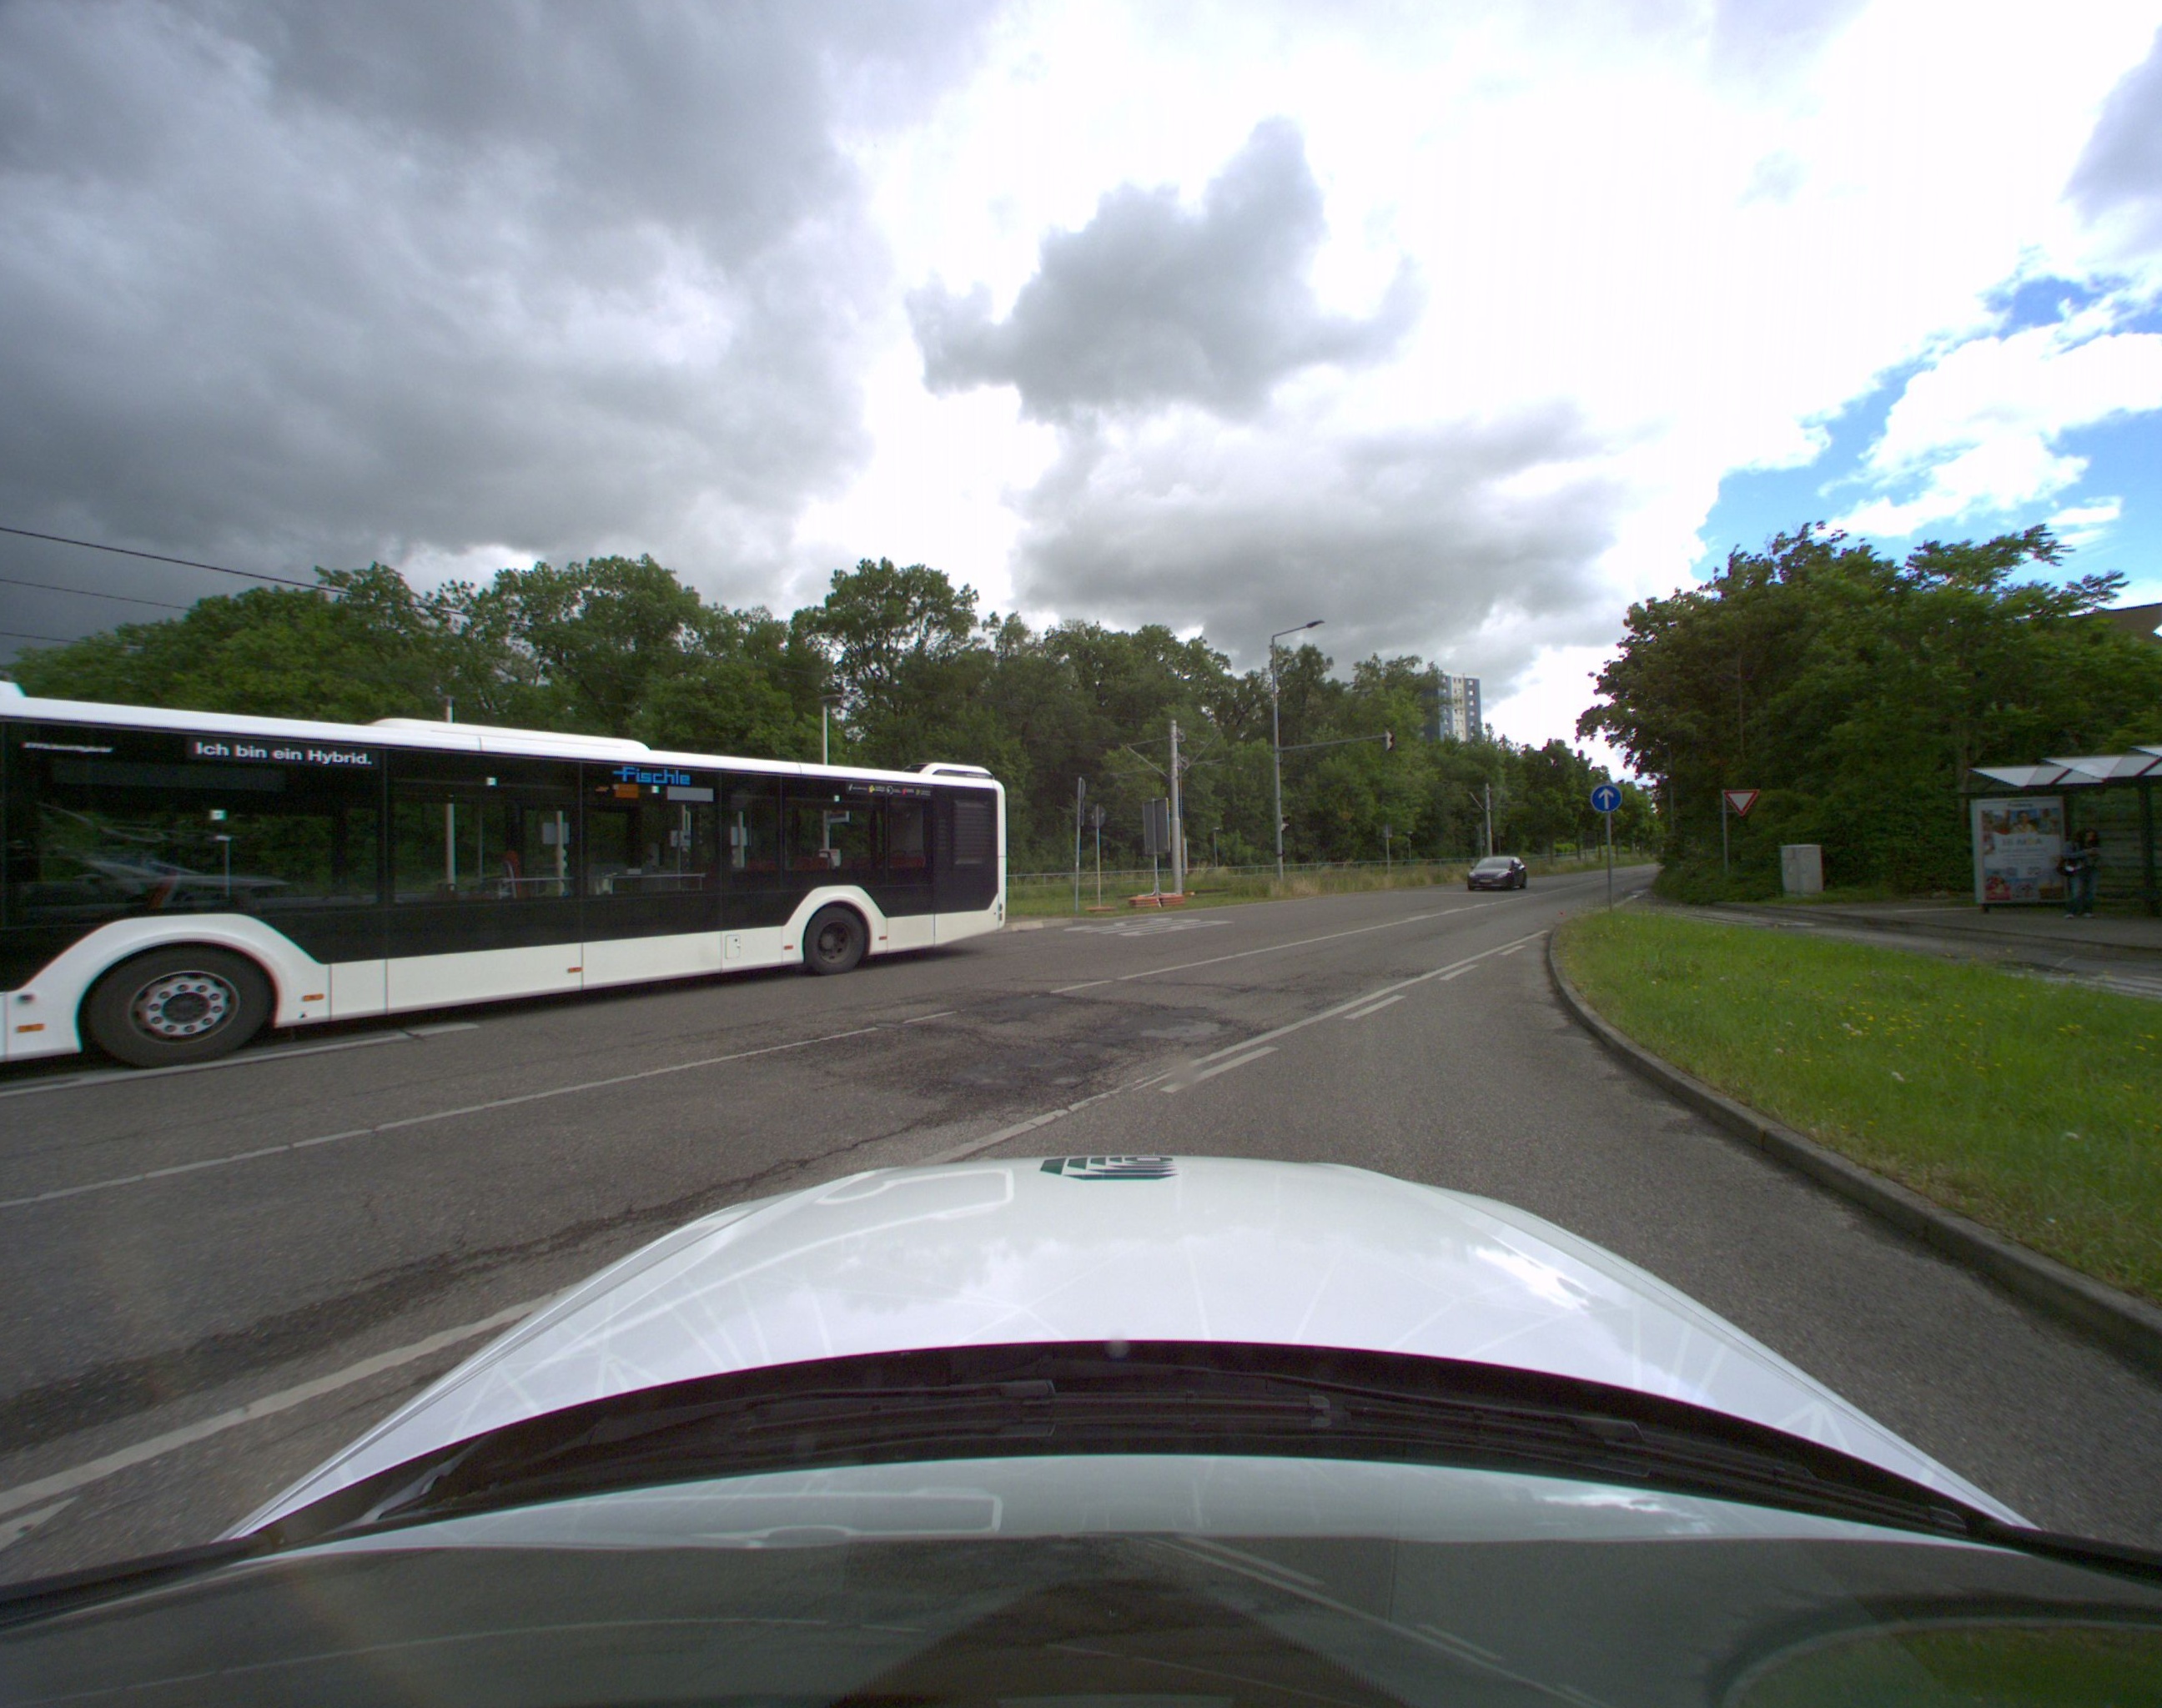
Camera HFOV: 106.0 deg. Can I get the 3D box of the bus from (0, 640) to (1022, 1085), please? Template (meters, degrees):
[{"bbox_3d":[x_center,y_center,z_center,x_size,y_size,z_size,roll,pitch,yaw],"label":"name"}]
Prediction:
[{"bbox_3d":[-6.008,0.072,9.974,2.640,3.203,12.276,-2,-1,40],"label":"bus"}]

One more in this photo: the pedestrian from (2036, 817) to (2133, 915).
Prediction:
[{"bbox_3d":[17.554,0.207,14.267,0.763,1.650,0.689,-2,-1,13],"label":"pedestrian"}]

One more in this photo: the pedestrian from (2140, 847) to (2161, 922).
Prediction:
[{"bbox_3d":[17.250,0.469,12.569,0.743,1.170,0.774,-2,-1,11],"label":"pedestrian"}]

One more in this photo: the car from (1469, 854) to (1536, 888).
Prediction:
[{"bbox_3d":[18.711,0.724,36.088,1.738,1.434,4.456,-2,-1,39],"label":"car"}]
